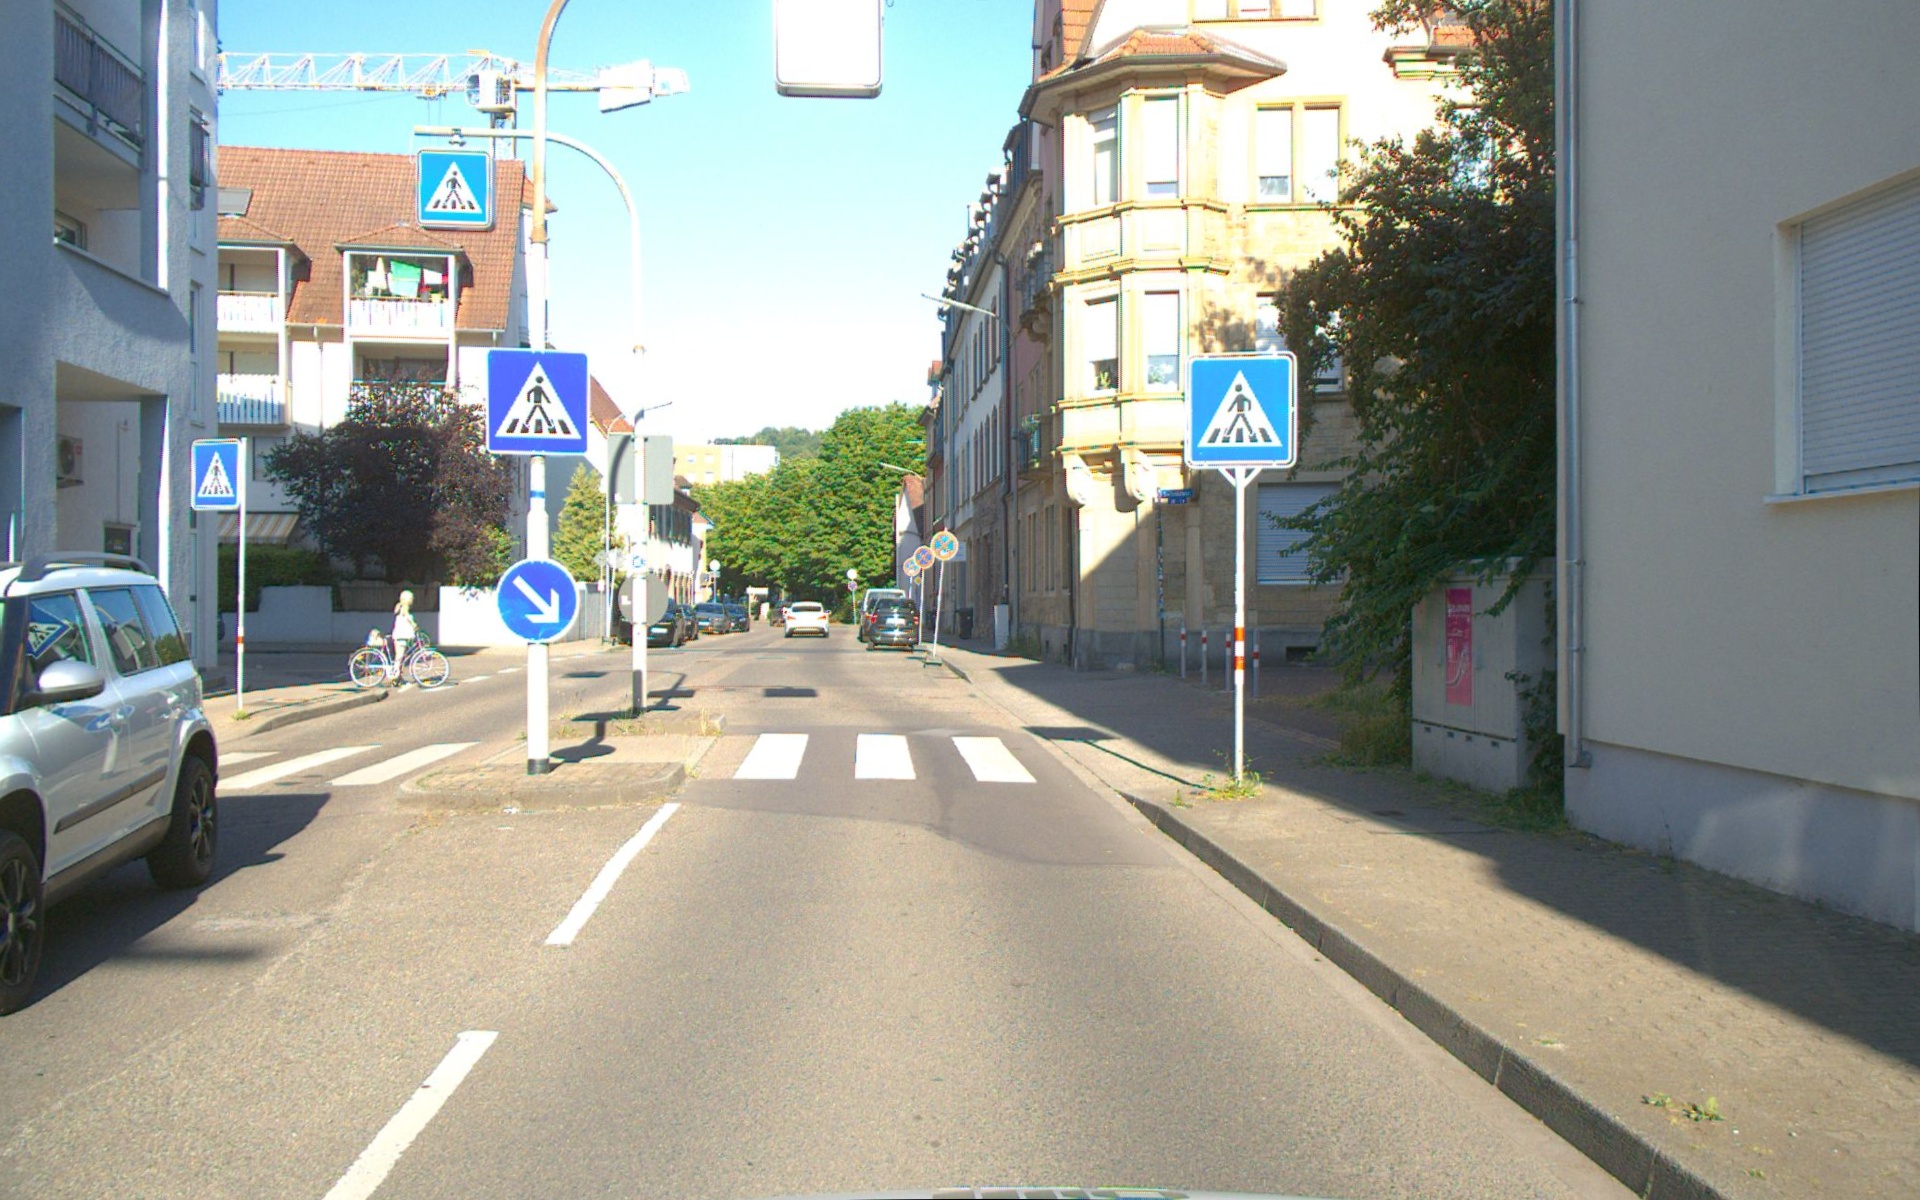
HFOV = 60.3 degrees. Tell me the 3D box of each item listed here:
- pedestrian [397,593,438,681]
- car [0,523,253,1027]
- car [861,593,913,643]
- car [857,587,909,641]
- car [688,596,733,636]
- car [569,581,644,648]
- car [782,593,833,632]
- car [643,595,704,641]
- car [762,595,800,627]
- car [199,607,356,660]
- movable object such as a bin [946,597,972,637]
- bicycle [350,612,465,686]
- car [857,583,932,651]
[{"bbox_3d":[-9.402,0.635,28.671,0.546,1.498,0.600,-1,0,-8],"label":"pedestrian"},{"bbox_3d":[-4.463,0.630,6.971,1.775,1.731,4.181,-3,1,-11],"label":"car"},{"bbox_3d":[-2.660,0.636,60.485,1.782,1.659,3.999,-2,1,-2],"label":"car"},{"bbox_3d":[-3.073,0.521,65.384,1.805,1.939,3.996,-2,1,-6],"label":"car"},{"bbox_3d":[-12.038,0.745,79.973,1.874,1.790,4.124,-2,1,-6],"label":"car"},{"bbox_3d":[-11.278,0.423,52.958,1.955,2.049,3.995,0,0,-6],"label":"car"},{"bbox_3d":[-6.209,0.478,67.003,1.956,1.492,3.994,-1,0,-7],"label":"car"},{"bbox_3d":[-11.316,0.680,65.644,2.052,1.659,3.817,-2,1,-6],"label":"car"},{"bbox_3d":[-11.998,0.706,110.629,1.960,2.049,3.984,-1,0,-15],"label":"car"},{"bbox_3d":[-17.941,0.859,43.604,3.475,1.201,1.613,-2,1,-9],"label":"car"},{"bbox_3d":[-0.046,0.613,60.177,0.854,1.401,0.684,-2,1,-5],"label":"movable object such as a bin"},{"bbox_3d":[-9.442,0.835,28.304,1.751,1.205,0.598,-1,0,-4],"label":"bicycle"},{"bbox_3d":[-1.984,0.468,49.146,1.972,1.885,3.995,1,1,-6],"label":"car"}]
